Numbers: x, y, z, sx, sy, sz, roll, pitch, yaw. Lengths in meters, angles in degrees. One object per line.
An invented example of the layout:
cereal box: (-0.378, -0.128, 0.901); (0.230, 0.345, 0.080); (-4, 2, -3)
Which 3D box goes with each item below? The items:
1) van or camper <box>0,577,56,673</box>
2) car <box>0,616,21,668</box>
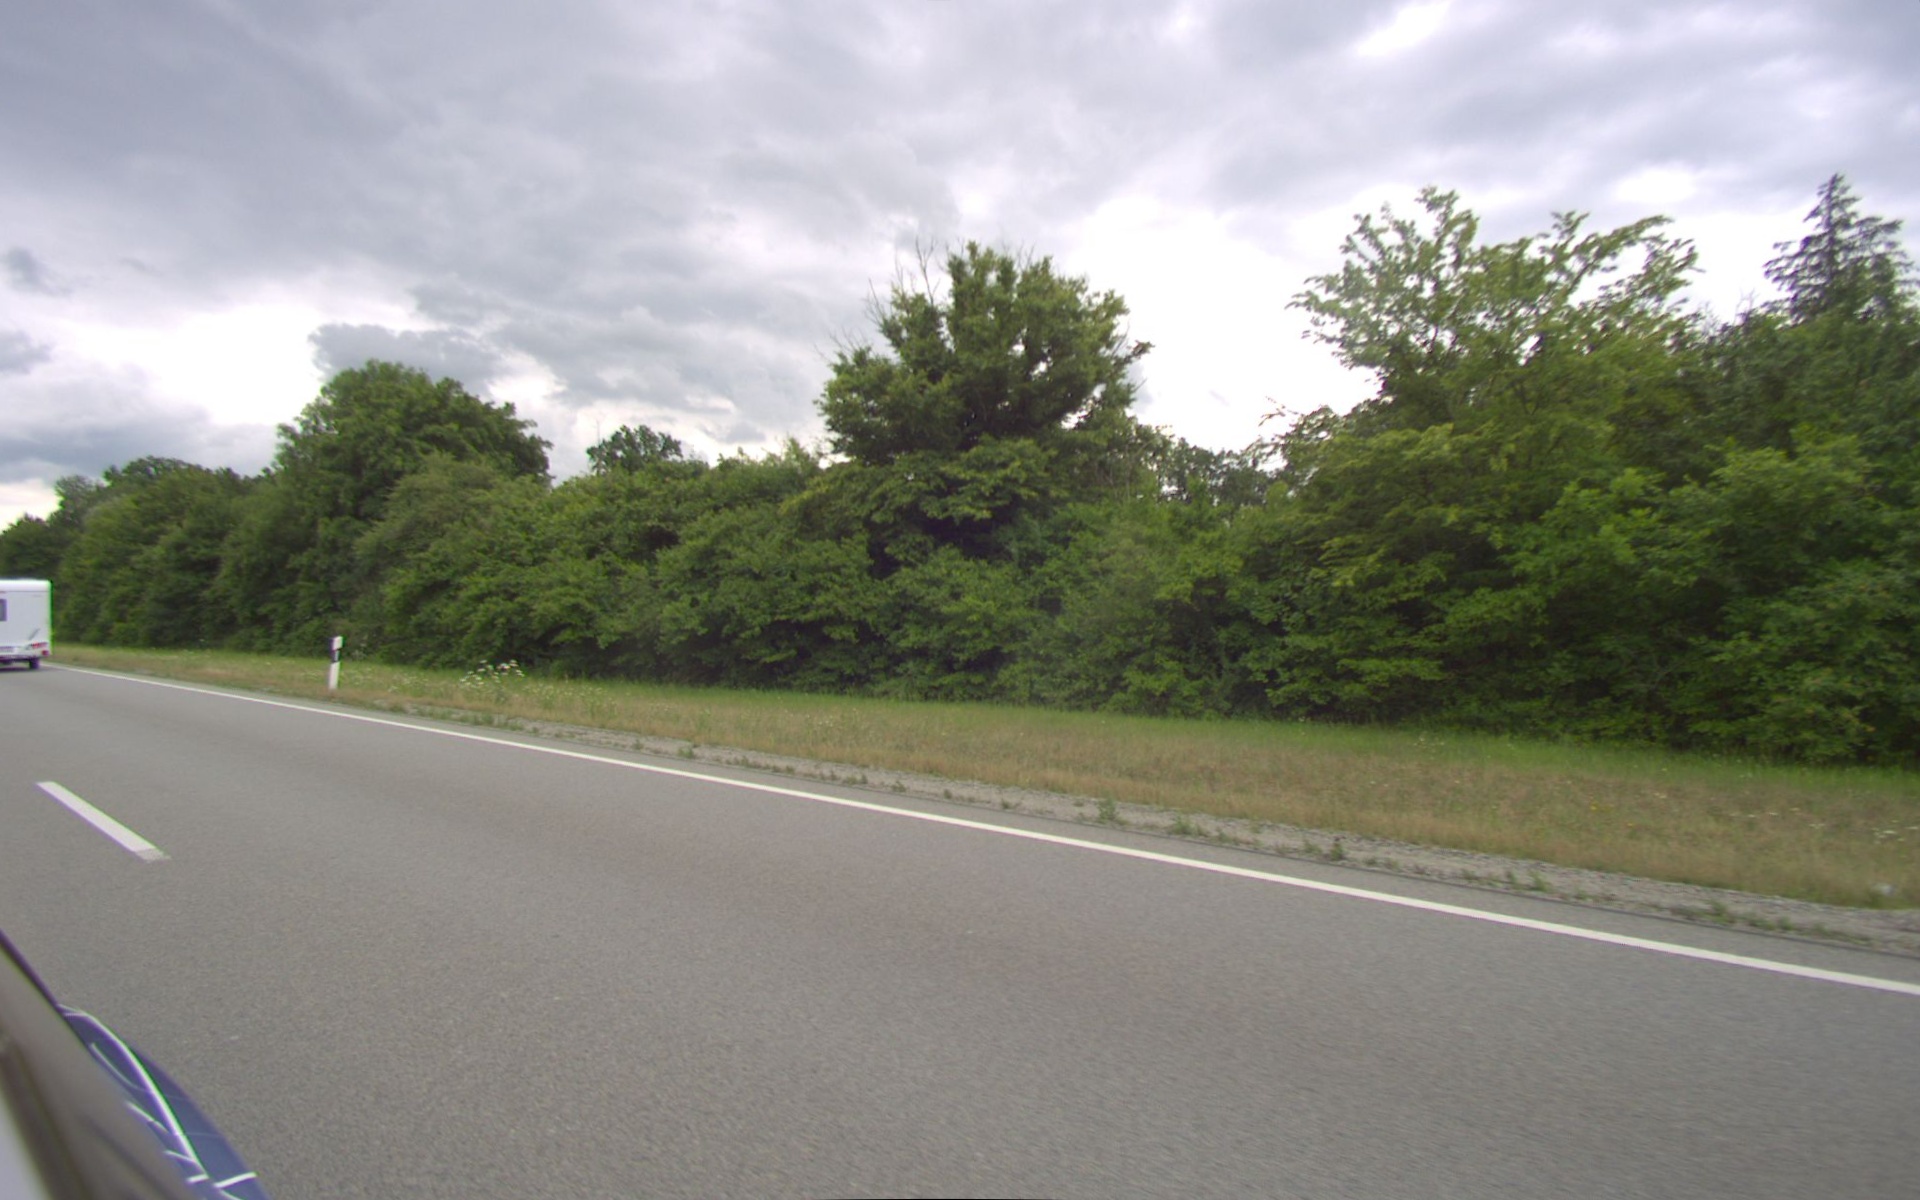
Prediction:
van or camper: (-28.236, 0.716, 29.233); (6.275, 2.594, 2.355); (-1, 0, 41)
car: (-32.416, 1.374, 32.903); (4.688, 1.615, 2.255); (-1, 0, 41)
